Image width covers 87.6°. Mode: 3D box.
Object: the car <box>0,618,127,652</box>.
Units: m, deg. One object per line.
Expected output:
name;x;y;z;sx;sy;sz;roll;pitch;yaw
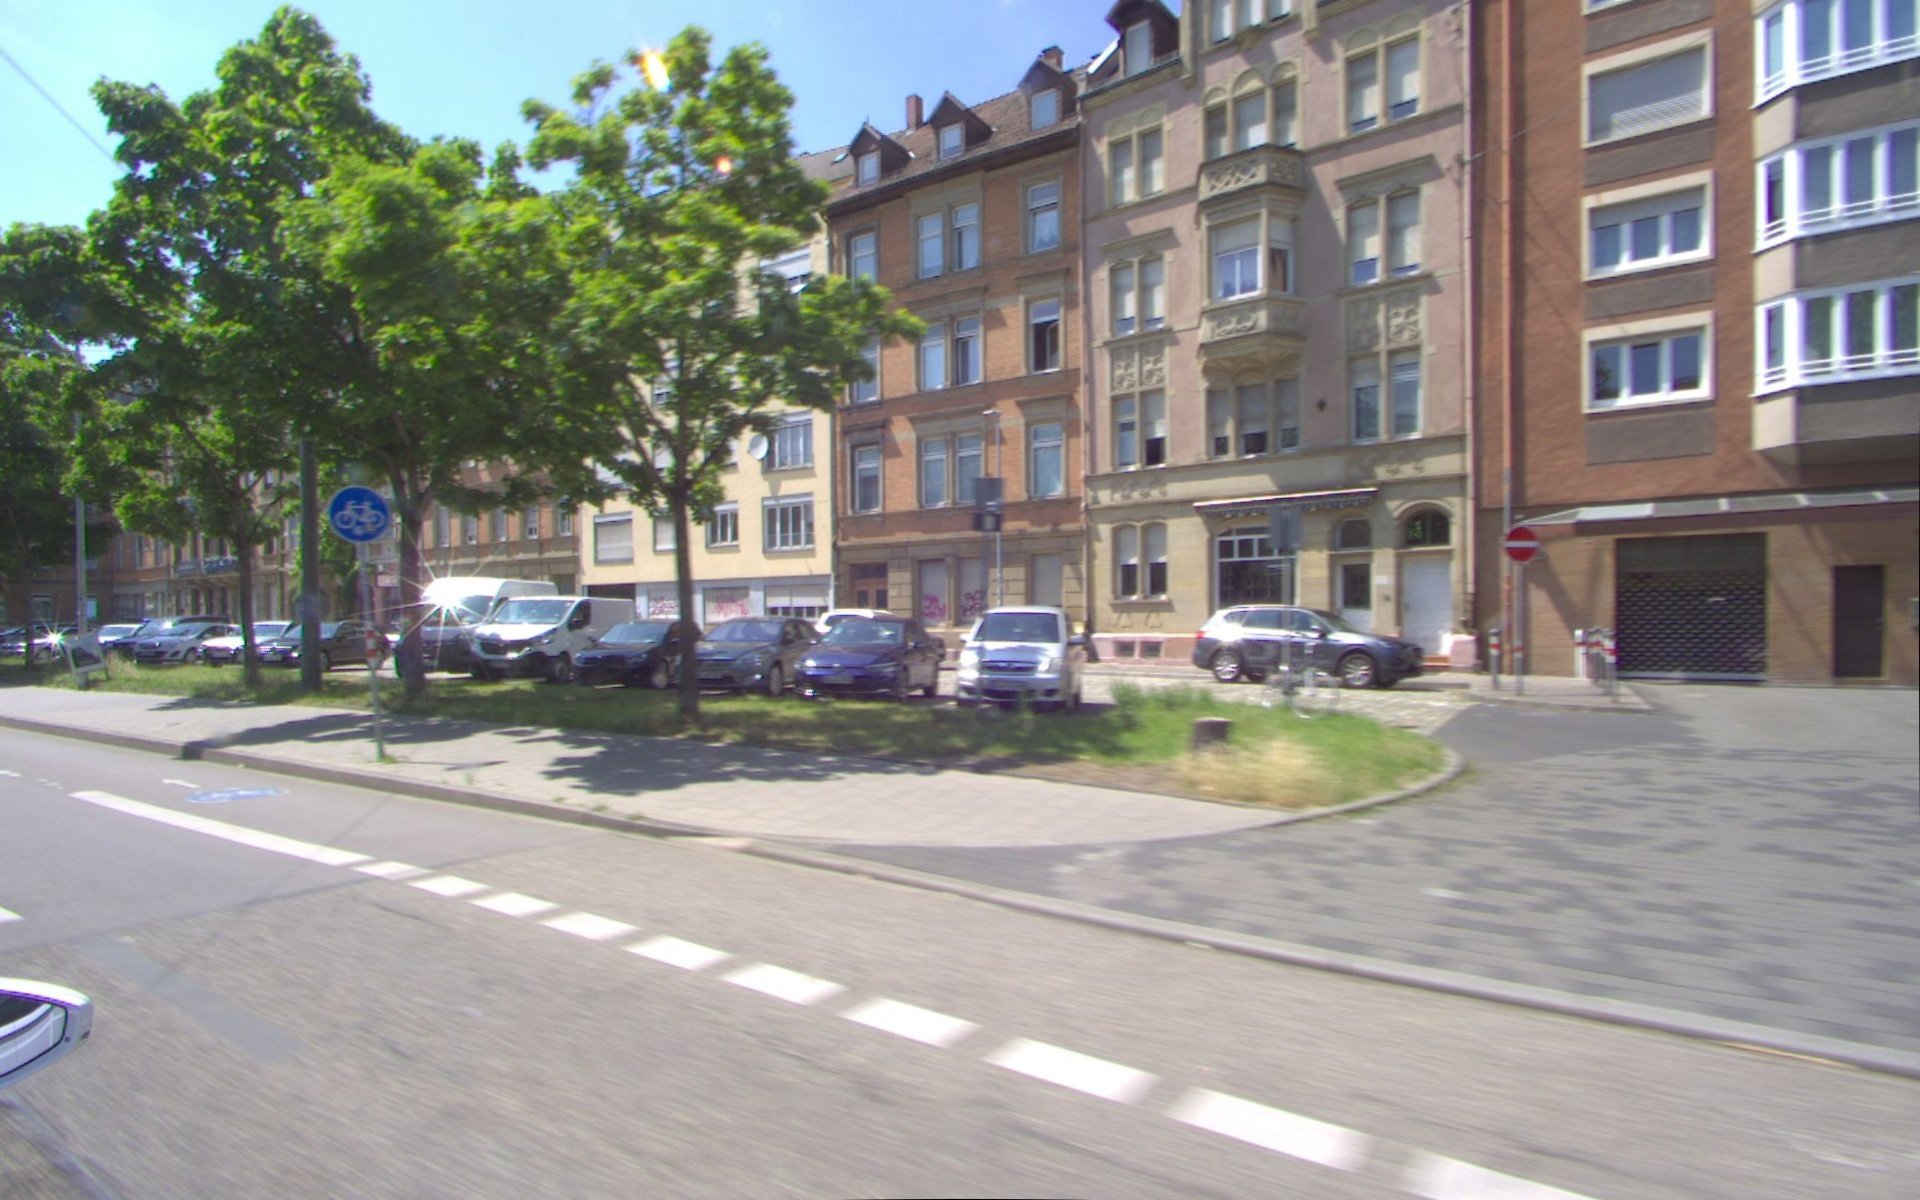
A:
car;-37.339;1.447;41.483;1.935;1.330;3.998;0;-1;13

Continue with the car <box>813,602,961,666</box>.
car;-2.110;0.958;28.563;3.944;1.705;1.815;-1;-1;34

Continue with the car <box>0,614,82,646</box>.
car;-41.937;1.343;44.534;1.552;1.394;4.348;0;-1;9

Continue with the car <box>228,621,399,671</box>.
car;-18.558;1.295;29.032;1.934;1.355;4.433;0;-1;3

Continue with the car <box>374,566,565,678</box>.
car;-12.000;0.566;25.036;2.194;2.492;5.553;0;-1;-2

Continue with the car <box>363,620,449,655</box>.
car;-23.612;1.568;42.663;3.665;1.438;1.775;-1;-2;34

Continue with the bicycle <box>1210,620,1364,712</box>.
bicycle;4.600;0.898;14.322;0.729;1.208;2.353;0;-1;-23

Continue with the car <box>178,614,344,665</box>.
car;-21.403;1.183;30.932;1.934;1.445;4.694;0;-1;-2

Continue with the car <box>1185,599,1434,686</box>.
car;7.246;0.855;21.045;4.547;1.621;1.984;-1;-2;42

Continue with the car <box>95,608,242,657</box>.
car;-28.913;1.178;36.749;1.934;1.683;4.000;0;-1;9

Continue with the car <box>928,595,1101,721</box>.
car;1.005;0.822;15.472;1.962;1.653;4.411;0;-1;13

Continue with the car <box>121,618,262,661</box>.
car;-26.529;1.338;34.741;1.679;1.418;4.001;0;-1;2

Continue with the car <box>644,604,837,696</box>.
car;-3.973;0.891;19.037;1.928;1.516;4.632;0;-1;11

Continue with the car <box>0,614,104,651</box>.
car;-39.753;1.393;43.280;1.763;1.488;4.093;0;-1;7

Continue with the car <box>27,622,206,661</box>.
car;-31.137;1.502;37.192;2.109;1.330;4.785;0;-2;13

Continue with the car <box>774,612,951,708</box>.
car;-1.496;0.951;16.943;1.790;1.417;3.998;0;-1;14

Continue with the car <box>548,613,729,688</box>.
car;-6.550;1.007;20.896;1.790;1.404;3.998;0;-1;14

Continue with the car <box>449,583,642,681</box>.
car;-9.273;0.716;22.954;2.036;1.998;4.849;0;-1;6
